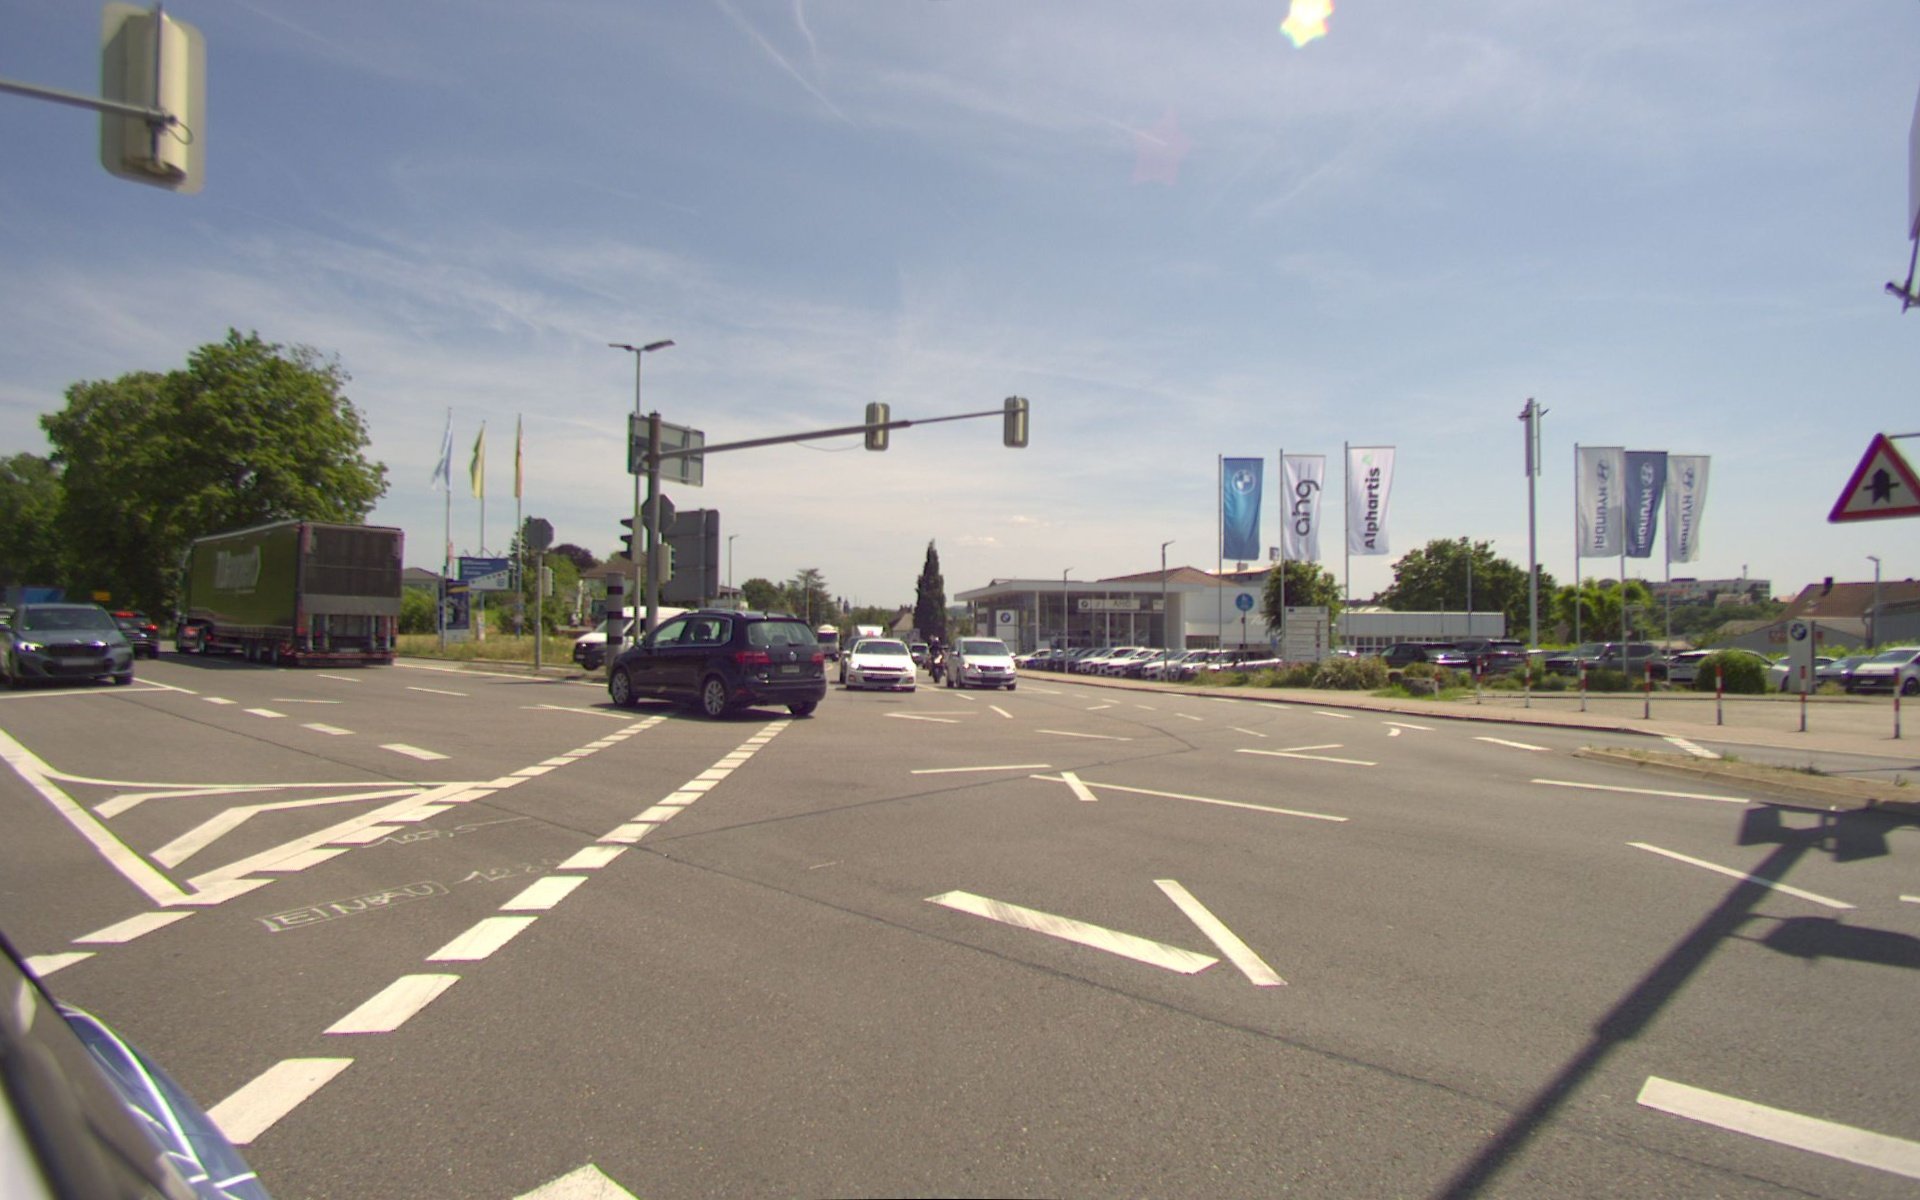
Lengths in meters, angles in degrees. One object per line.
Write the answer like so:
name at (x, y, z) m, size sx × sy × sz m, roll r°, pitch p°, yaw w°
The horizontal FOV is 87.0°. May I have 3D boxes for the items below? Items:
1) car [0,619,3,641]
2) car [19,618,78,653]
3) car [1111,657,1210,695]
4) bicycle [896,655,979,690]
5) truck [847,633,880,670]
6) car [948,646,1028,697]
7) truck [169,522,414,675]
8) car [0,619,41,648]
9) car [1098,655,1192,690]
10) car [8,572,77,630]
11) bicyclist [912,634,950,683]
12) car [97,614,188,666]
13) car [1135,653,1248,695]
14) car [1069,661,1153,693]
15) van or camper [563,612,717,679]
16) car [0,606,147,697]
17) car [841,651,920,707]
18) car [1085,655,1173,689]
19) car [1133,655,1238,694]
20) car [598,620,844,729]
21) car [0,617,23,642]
car at (-92.753, 2.839, 96.490) m, size 4.002 × 2.029 × 1.971 m, roll -2°, pitch -4°, yaw 45°
car at (-43.091, 1.663, 47.819) m, size 3.956 × 1.509 × 1.665 m, roll -1°, pitch -5°, yaw 44°
car at (9.141, 3.455, 46.186) m, size 3.934 × 1.586 × 2.005 m, roll 2°, pitch -3°, yaw -12°
bicycle at (-0.852, 2.658, 37.436) m, size 3.126 × 1.179 × 1.116 m, roll -1°, pitch -3°, yaw 41°
truck at (-9.095, 4.840, 95.949) m, size 2.957 × 3.245 × 9.623 m, roll 1°, pitch -3°, yaw -5°
car at (0.788, 2.153, 31.271) m, size 1.894 × 1.432 × 4.005 m, roll 1°, pitch -3°, yaw -6°
truck at (-22.775, 0.100, 33.593) m, size 17.090 × 3.985 × 2.812 m, roll -1°, pitch -4°, yaw 44°
car at (-52.821, 1.848, 56.643) m, size 3.956 × 1.509 × 1.665 m, roll -1°, pitch -5°, yaw 44°
car at (8.868, 3.469, 48.665) m, size 3.934 × 1.586 × 2.005 m, roll 2°, pitch -3°, yaw -12°
car at (-70.028, 0.183, 77.182) m, size 7.696 × 4.111 × 3.305 m, roll -2°, pitch -4°, yaw 45°
bicyclist at (-1.070, 2.173, 37.770) m, size 1.054 × 1.783 × 0.956 m, roll -1°, pitch -2°, yaw 41°
car at (-26.187, 1.248, 32.368) m, size 3.956 × 1.509 × 1.665 m, roll -1°, pitch -5°, yaw 44°
car at (9.350, 2.991, 40.970) m, size 3.934 × 1.586 × 2.005 m, roll 2°, pitch -3°, yaw -12°
car at (7.975, 4.073, 53.634) m, size 3.934 × 1.586 × 2.005 m, roll 2°, pitch -3°, yaw -12°
van or camper at (-12.265, 1.760, 39.163) m, size 2.095 × 2.431 × 5.397 m, roll -1°, pitch -3°, yaw 39°
car at (-17.853, 0.943, 20.189) m, size 4.510 × 1.622 × 1.902 m, roll -1°, pitch -1°, yaw 43°
car at (-2.161, 2.039, 26.732) m, size 1.894 × 1.324 × 4.005 m, roll 1°, pitch -3°, yaw -6°
car at (8.515, 3.615, 51.152) m, size 3.934 × 1.586 × 2.005 m, roll 2°, pitch -3°, yaw -12°
car at (9.740, 3.219, 43.772) m, size 3.934 × 1.586 × 2.005 m, roll 2°, pitch -3°, yaw -12°
car at (-3.801, 1.079, 15.697) m, size 4.155 × 1.439 × 1.665 m, roll -1°, pitch -4°, yaw 44°
car at (-62.003, 1.883, 65.498) m, size 3.956 × 1.509 × 1.665 m, roll -1°, pitch -5°, yaw 44°
